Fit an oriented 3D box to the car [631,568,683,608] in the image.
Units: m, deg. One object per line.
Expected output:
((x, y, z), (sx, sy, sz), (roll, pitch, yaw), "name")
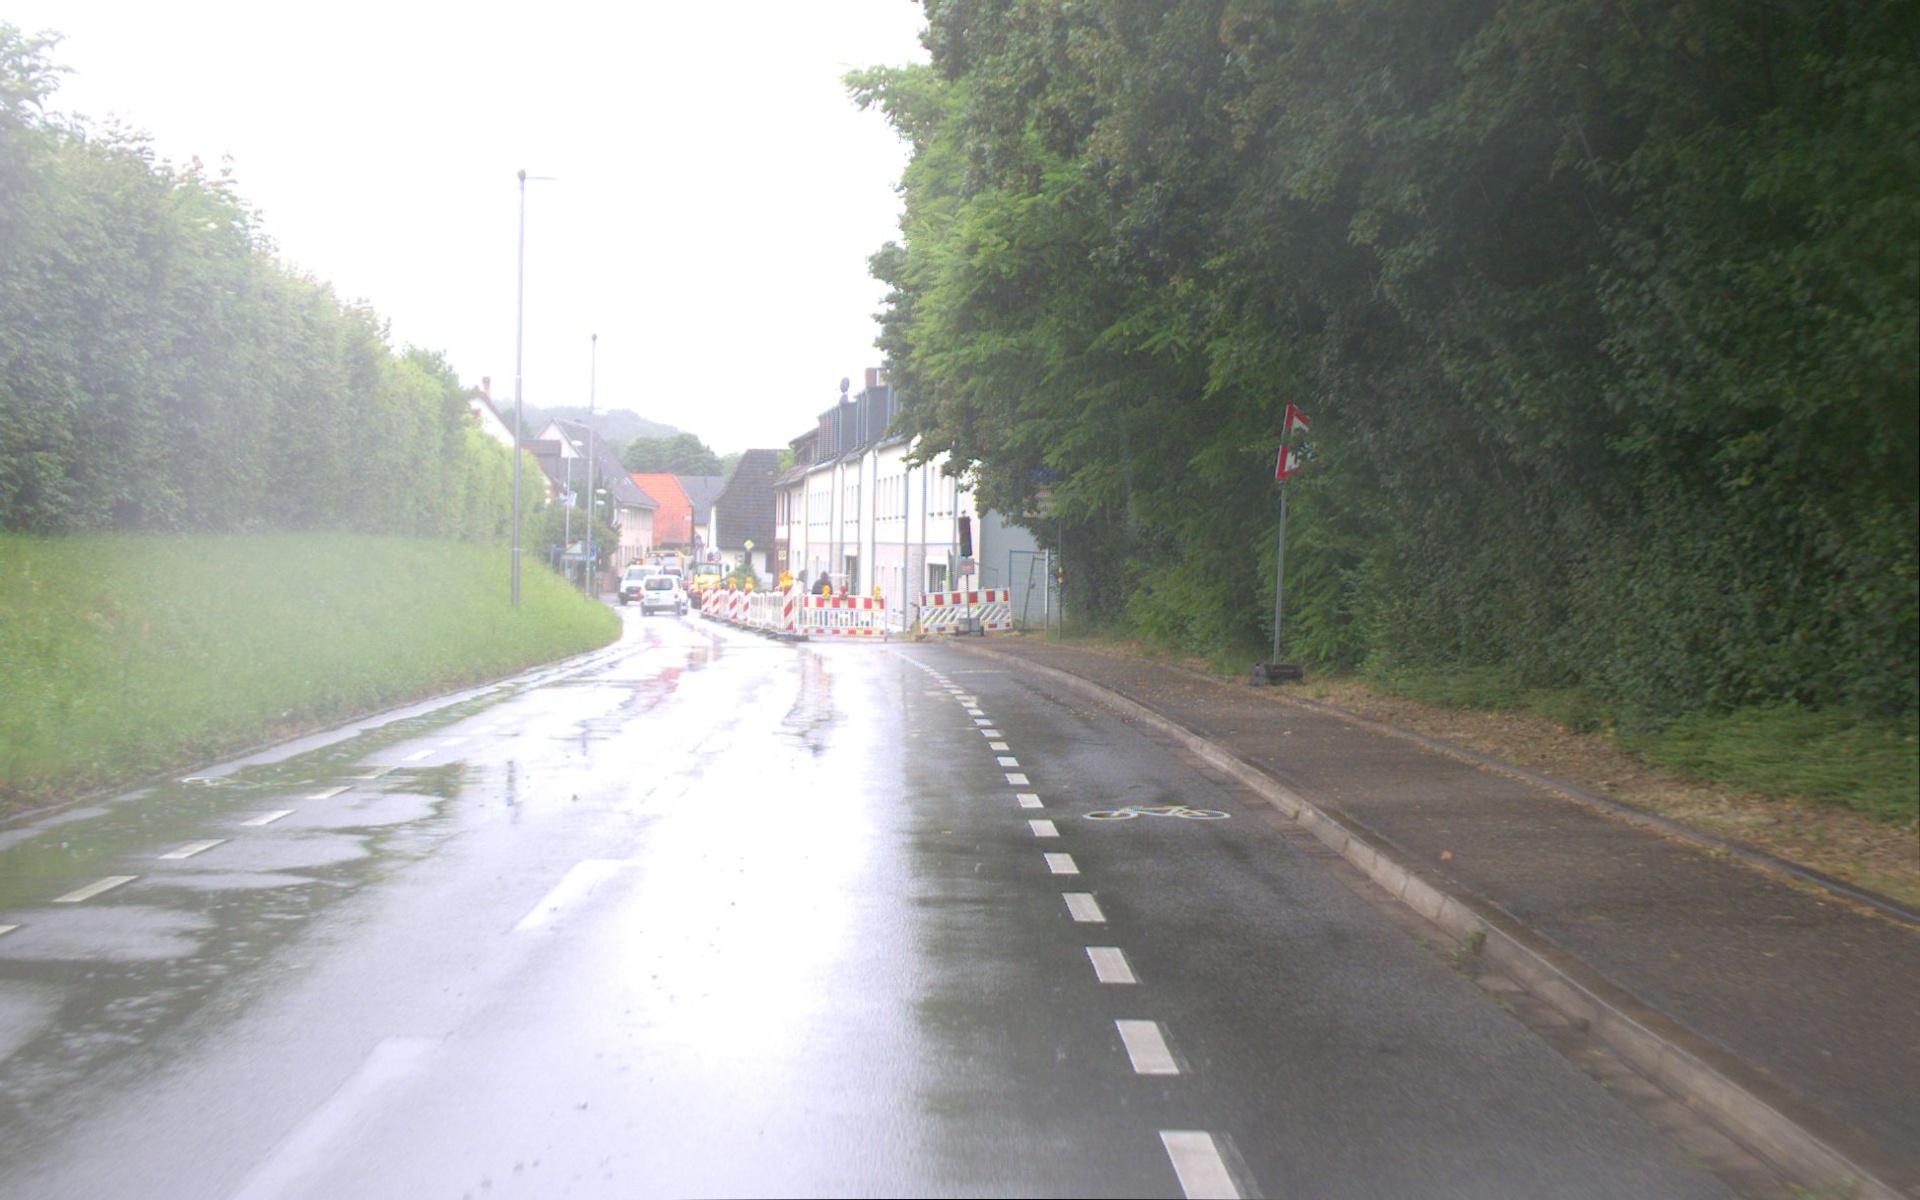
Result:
((-13.773, -0.546, 156.003), (1.993, 1.605, 4.001), (3, 1, -9), "car")

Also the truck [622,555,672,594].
((-17.398, -1.455, 191.141), (1.994, 2.006, 4.904), (2, 2, 3), "truck")
